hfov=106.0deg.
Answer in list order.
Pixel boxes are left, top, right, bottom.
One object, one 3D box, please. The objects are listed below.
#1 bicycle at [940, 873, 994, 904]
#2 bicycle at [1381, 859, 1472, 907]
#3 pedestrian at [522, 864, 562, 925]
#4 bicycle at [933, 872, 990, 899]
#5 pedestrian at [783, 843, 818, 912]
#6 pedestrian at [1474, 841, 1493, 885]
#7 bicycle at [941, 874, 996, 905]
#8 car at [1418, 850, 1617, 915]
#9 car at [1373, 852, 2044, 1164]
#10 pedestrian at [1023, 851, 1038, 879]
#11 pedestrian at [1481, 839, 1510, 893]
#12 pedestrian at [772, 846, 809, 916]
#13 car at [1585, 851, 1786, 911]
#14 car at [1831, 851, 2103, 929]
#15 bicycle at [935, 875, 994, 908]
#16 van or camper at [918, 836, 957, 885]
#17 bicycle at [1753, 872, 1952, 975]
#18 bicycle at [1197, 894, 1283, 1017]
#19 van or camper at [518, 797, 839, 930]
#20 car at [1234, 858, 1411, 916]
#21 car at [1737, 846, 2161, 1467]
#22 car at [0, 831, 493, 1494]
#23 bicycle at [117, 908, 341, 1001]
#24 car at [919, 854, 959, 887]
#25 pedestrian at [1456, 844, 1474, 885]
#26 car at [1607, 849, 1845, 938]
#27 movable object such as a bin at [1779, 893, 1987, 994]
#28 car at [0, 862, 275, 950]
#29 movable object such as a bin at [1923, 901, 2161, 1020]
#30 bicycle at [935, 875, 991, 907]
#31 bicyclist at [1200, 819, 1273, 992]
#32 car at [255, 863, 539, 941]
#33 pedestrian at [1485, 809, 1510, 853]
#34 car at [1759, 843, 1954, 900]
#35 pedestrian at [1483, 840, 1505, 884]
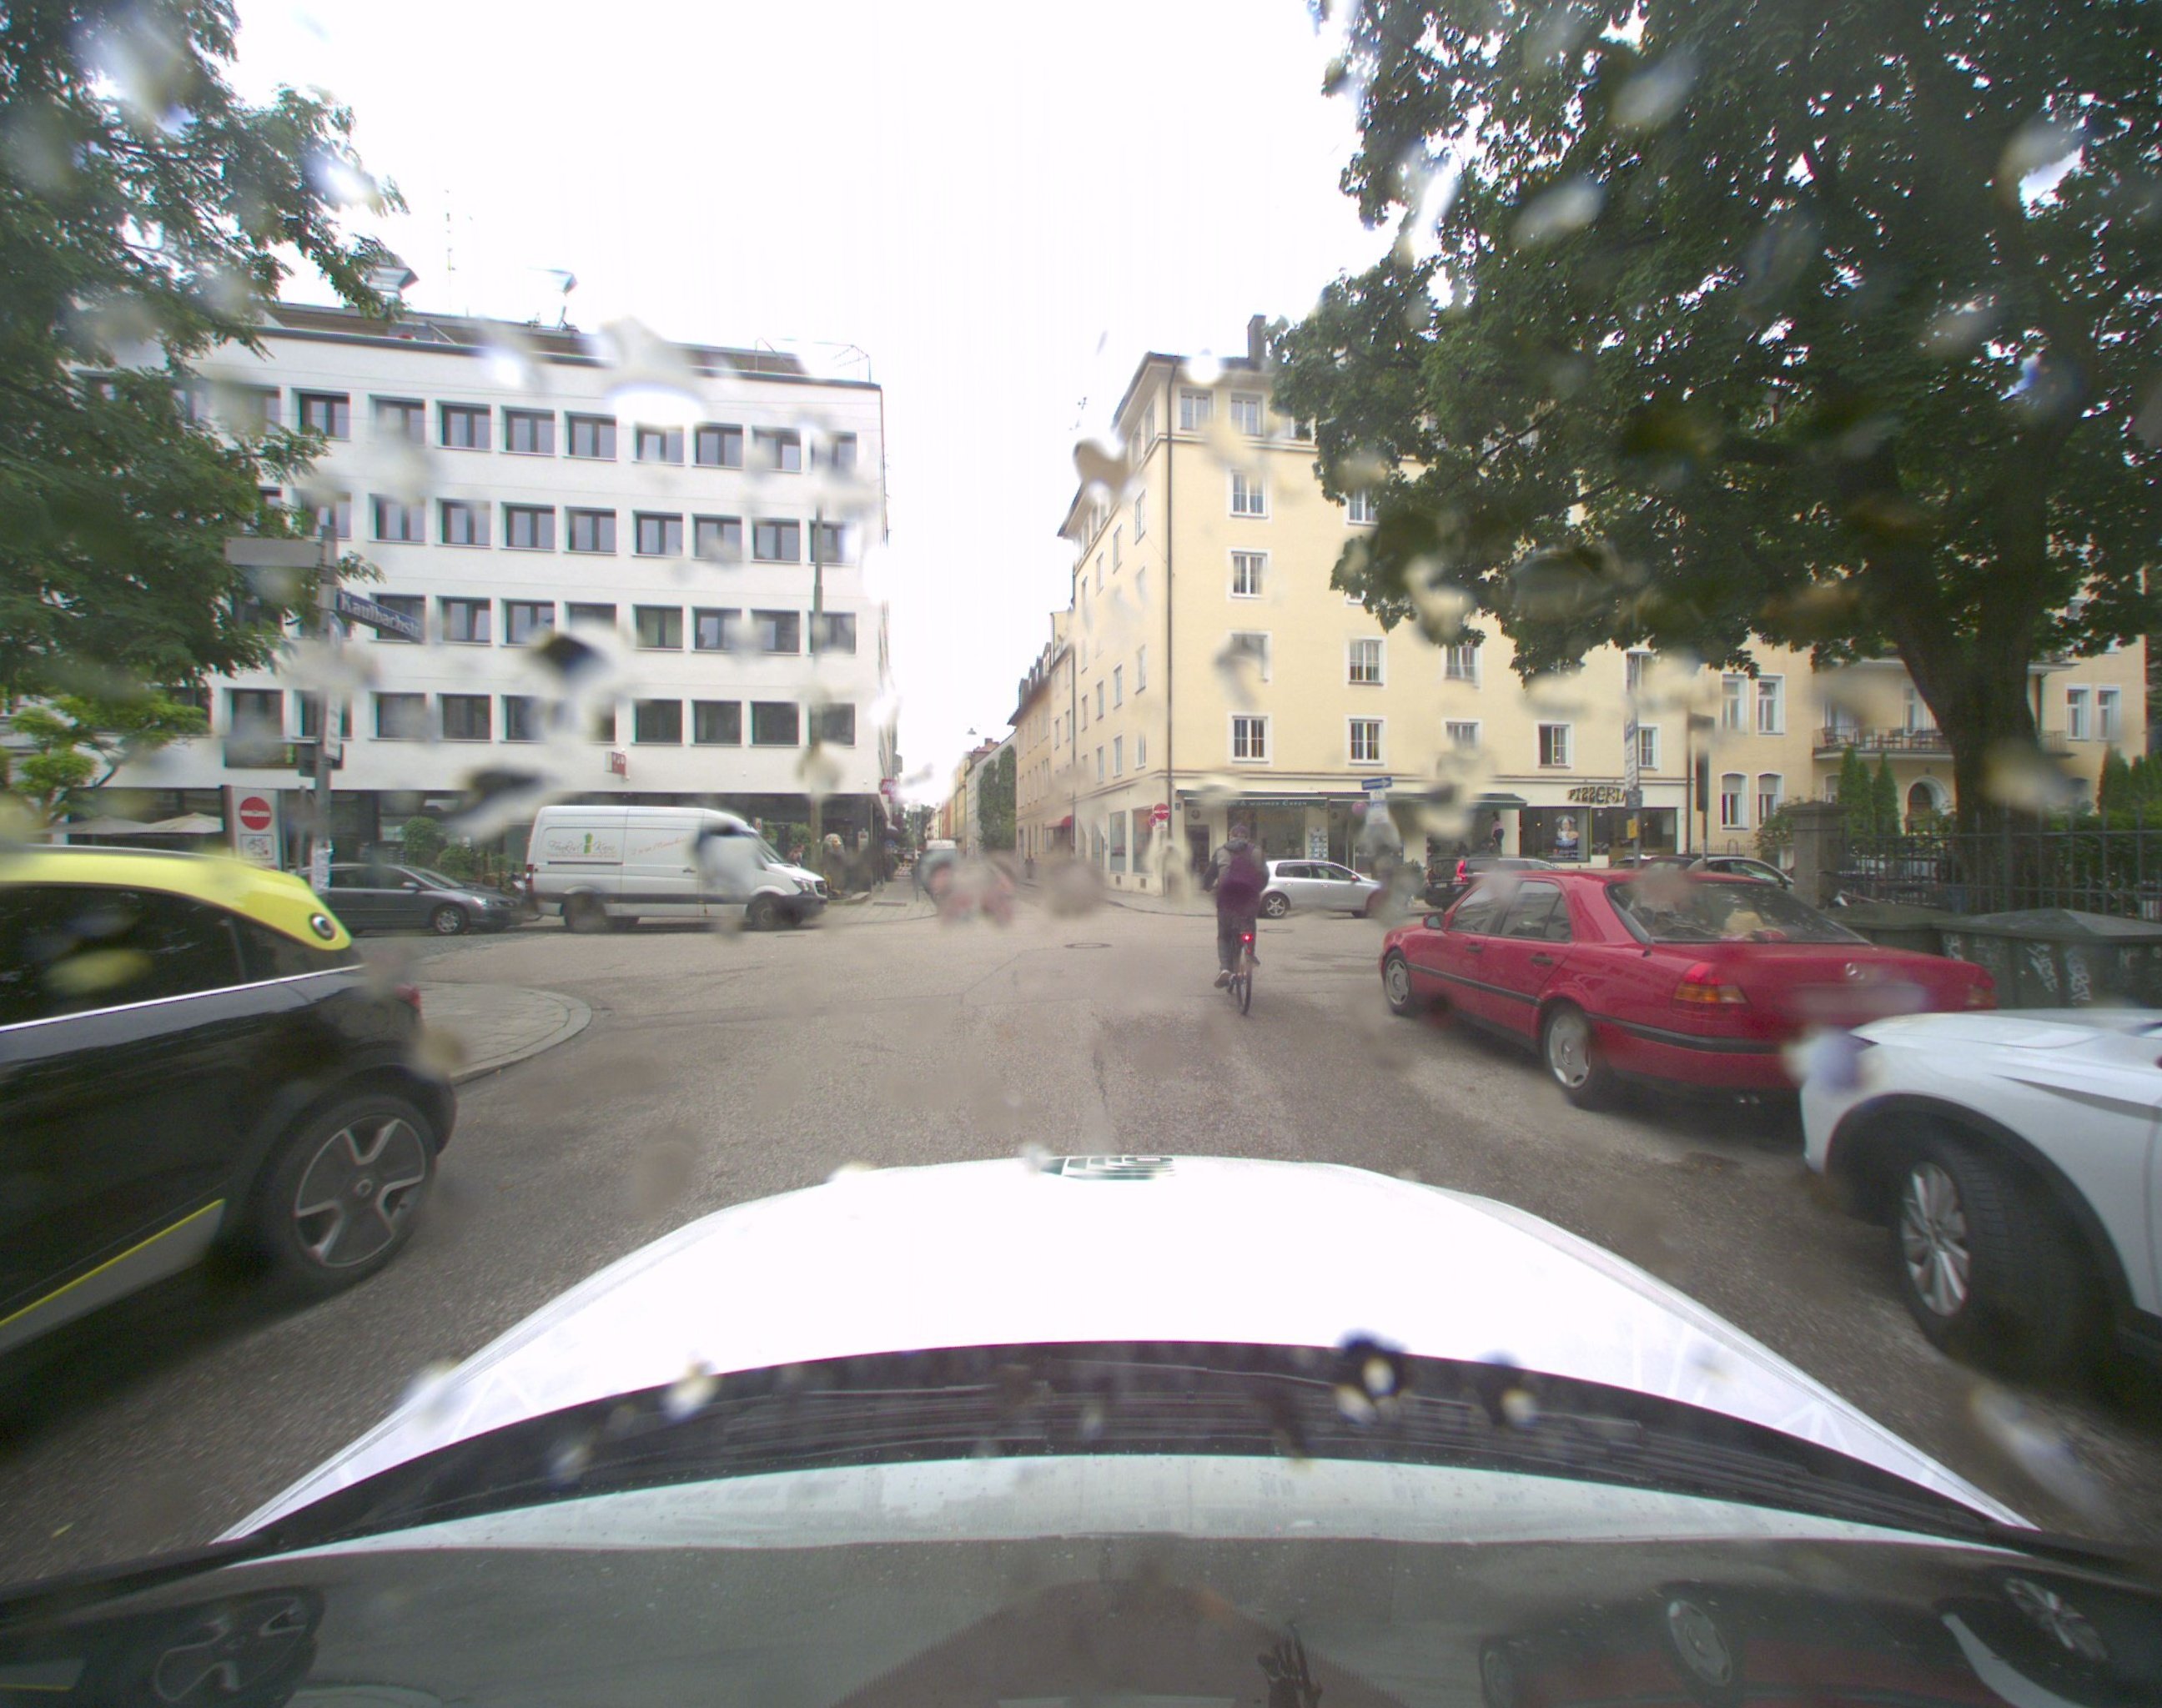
[{"bbox_3d":[-3.832,1.150,27.341,1.739,0.968,0.540,-1,0,-16],"label":"bicycle"},{"bbox_3d":[9.646,0.799,22.800,2.081,1.253,1.103,1,1,-9],"label":"bicycle"},{"bbox_3d":[-13.498,1.010,20.399,0.644,1.481,0.595,-1,-3,35],"label":"pedestrian"},{"bbox_3d":[-4.174,1.101,28.492,1.915,0.863,0.615,-1,0,-16],"label":"bicycle"},{"bbox_3d":[-7.485,0.617,21.743,0.781,1.783,0.614,1,2,-24],"label":"pedestrian"},{"bbox_3d":[14.118,0.307,28.586,0.550,1.537,0.437,1,2,32],"label":"pedestrian"},{"bbox_3d":[-3.689,1.158,26.732,1.739,0.968,0.540,-1,0,-16],"label":"bicycle"},{"bbox_3d":[11.192,0.715,21.004,4.335,1.592,1.814,0,-2,-10],"label":"car"},{"bbox_3d":[3.691,0.718,5.912,1.664,1.435,4.213,0,0,0],"label":"car"},{"bbox_3d":[-3.162,0.683,51.083,0.878,1.778,0.771,-1,0,-11],"label":"pedestrian"},{"bbox_3d":[13.300,0.362,26.135,0.602,1.702,0.542,-1,2,-8],"label":"pedestrian"},{"bbox_3d":[-7.459,0.682,20.917,0.794,1.746,0.766,1,2,-24],"label":"pedestrian"},{"bbox_3d":[16.094,0.720,21.762,4.335,1.503,1.814,0,-2,-10],"label":"car"},{"bbox_3d":[17.577,0.665,16.233,4.186,1.407,1.701,-1,0,-10],"label":"car"},{"bbox_3d":[-3.622,1.166,25.348,1.758,0.968,0.592,-1,0,-16],"label":"bicycle"},{"bbox_3d":[-7.878,0.355,44.821,1.994,2.540,4.744,-1,0,-10],"label":"van or camper"},{"bbox_3d":[8.609,0.742,9.204,0.479,1.040,1.803,-1,-2,-1],"label":"bicycle"},{"bbox_3d":[1.517,0.932,7.982,0.636,1.004,1.576,-1,0,4],"label":"bicycle"},{"bbox_3d":[-8.460,0.185,17.672,5.901,2.677,1.868,-1,-2,-8],"label":"van or camper"},{"bbox_3d":[6.010,0.835,20.625,3.972,1.416,1.821,0,-3,2],"label":"car"},{"bbox_3d":[3.506,0.728,1.262,1.746,1.496,3.906,0,0,-3],"label":"car"},{"bbox_3d":[-3.482,0.776,1.577,1.670,1.597,3.947,-2,0,2],"label":"car"},{"bbox_3d":[-9.912,1.139,9.570,1.566,0.947,0.891,1,-2,-26],"label":"bicycle"},{"bbox_3d":[-7.057,0.762,40.263,1.833,1.535,3.985,-1,0,-11],"label":"car"},{"bbox_3d":[13.582,0.365,28.808,0.507,1.433,0.586,-1,0,32],"label":"pedestrian"},{"bbox_3d":[11.841,0.674,15.061,3.318,1.487,1.624,0,1,-7],"label":"car"},{"bbox_3d":[8.023,0.864,8.226,0.898,0.865,1.218,-1,0,-2],"label":"movable object such as a bin"},{"bbox_3d":[-18.744,0.977,15.791,4.121,1.544,1.795,-1,-2,-8],"label":"car"},{"bbox_3d":[8.255,0.862,6.943,0.898,0.844,1.218,-1,0,-2],"label":"movable object such as a bin"},{"bbox_3d":[-3.772,1.163,26.018,1.739,0.968,0.540,-1,0,-16],"label":"bicycle"},{"bbox_3d":[1.510,0.479,7.999,0.603,1.606,0.758,-1,0,4],"label":"bicyclist"},{"bbox_3d":[-13.824,0.948,16.737,4.055,1.429,1.792,0,-3,-12],"label":"car"},{"bbox_3d":[15.211,-0.823,29.734,0.552,1.575,0.576,1,0,-9],"label":"pedestrian"},{"bbox_3d":[21.134,0.498,22.270,3.987,1.449,1.805,0,-3,-10],"label":"car"},{"bbox_3d":[14.752,0.276,29.100,0.435,1.551,0.530,0,0,-27],"label":"pedestrian"}]
